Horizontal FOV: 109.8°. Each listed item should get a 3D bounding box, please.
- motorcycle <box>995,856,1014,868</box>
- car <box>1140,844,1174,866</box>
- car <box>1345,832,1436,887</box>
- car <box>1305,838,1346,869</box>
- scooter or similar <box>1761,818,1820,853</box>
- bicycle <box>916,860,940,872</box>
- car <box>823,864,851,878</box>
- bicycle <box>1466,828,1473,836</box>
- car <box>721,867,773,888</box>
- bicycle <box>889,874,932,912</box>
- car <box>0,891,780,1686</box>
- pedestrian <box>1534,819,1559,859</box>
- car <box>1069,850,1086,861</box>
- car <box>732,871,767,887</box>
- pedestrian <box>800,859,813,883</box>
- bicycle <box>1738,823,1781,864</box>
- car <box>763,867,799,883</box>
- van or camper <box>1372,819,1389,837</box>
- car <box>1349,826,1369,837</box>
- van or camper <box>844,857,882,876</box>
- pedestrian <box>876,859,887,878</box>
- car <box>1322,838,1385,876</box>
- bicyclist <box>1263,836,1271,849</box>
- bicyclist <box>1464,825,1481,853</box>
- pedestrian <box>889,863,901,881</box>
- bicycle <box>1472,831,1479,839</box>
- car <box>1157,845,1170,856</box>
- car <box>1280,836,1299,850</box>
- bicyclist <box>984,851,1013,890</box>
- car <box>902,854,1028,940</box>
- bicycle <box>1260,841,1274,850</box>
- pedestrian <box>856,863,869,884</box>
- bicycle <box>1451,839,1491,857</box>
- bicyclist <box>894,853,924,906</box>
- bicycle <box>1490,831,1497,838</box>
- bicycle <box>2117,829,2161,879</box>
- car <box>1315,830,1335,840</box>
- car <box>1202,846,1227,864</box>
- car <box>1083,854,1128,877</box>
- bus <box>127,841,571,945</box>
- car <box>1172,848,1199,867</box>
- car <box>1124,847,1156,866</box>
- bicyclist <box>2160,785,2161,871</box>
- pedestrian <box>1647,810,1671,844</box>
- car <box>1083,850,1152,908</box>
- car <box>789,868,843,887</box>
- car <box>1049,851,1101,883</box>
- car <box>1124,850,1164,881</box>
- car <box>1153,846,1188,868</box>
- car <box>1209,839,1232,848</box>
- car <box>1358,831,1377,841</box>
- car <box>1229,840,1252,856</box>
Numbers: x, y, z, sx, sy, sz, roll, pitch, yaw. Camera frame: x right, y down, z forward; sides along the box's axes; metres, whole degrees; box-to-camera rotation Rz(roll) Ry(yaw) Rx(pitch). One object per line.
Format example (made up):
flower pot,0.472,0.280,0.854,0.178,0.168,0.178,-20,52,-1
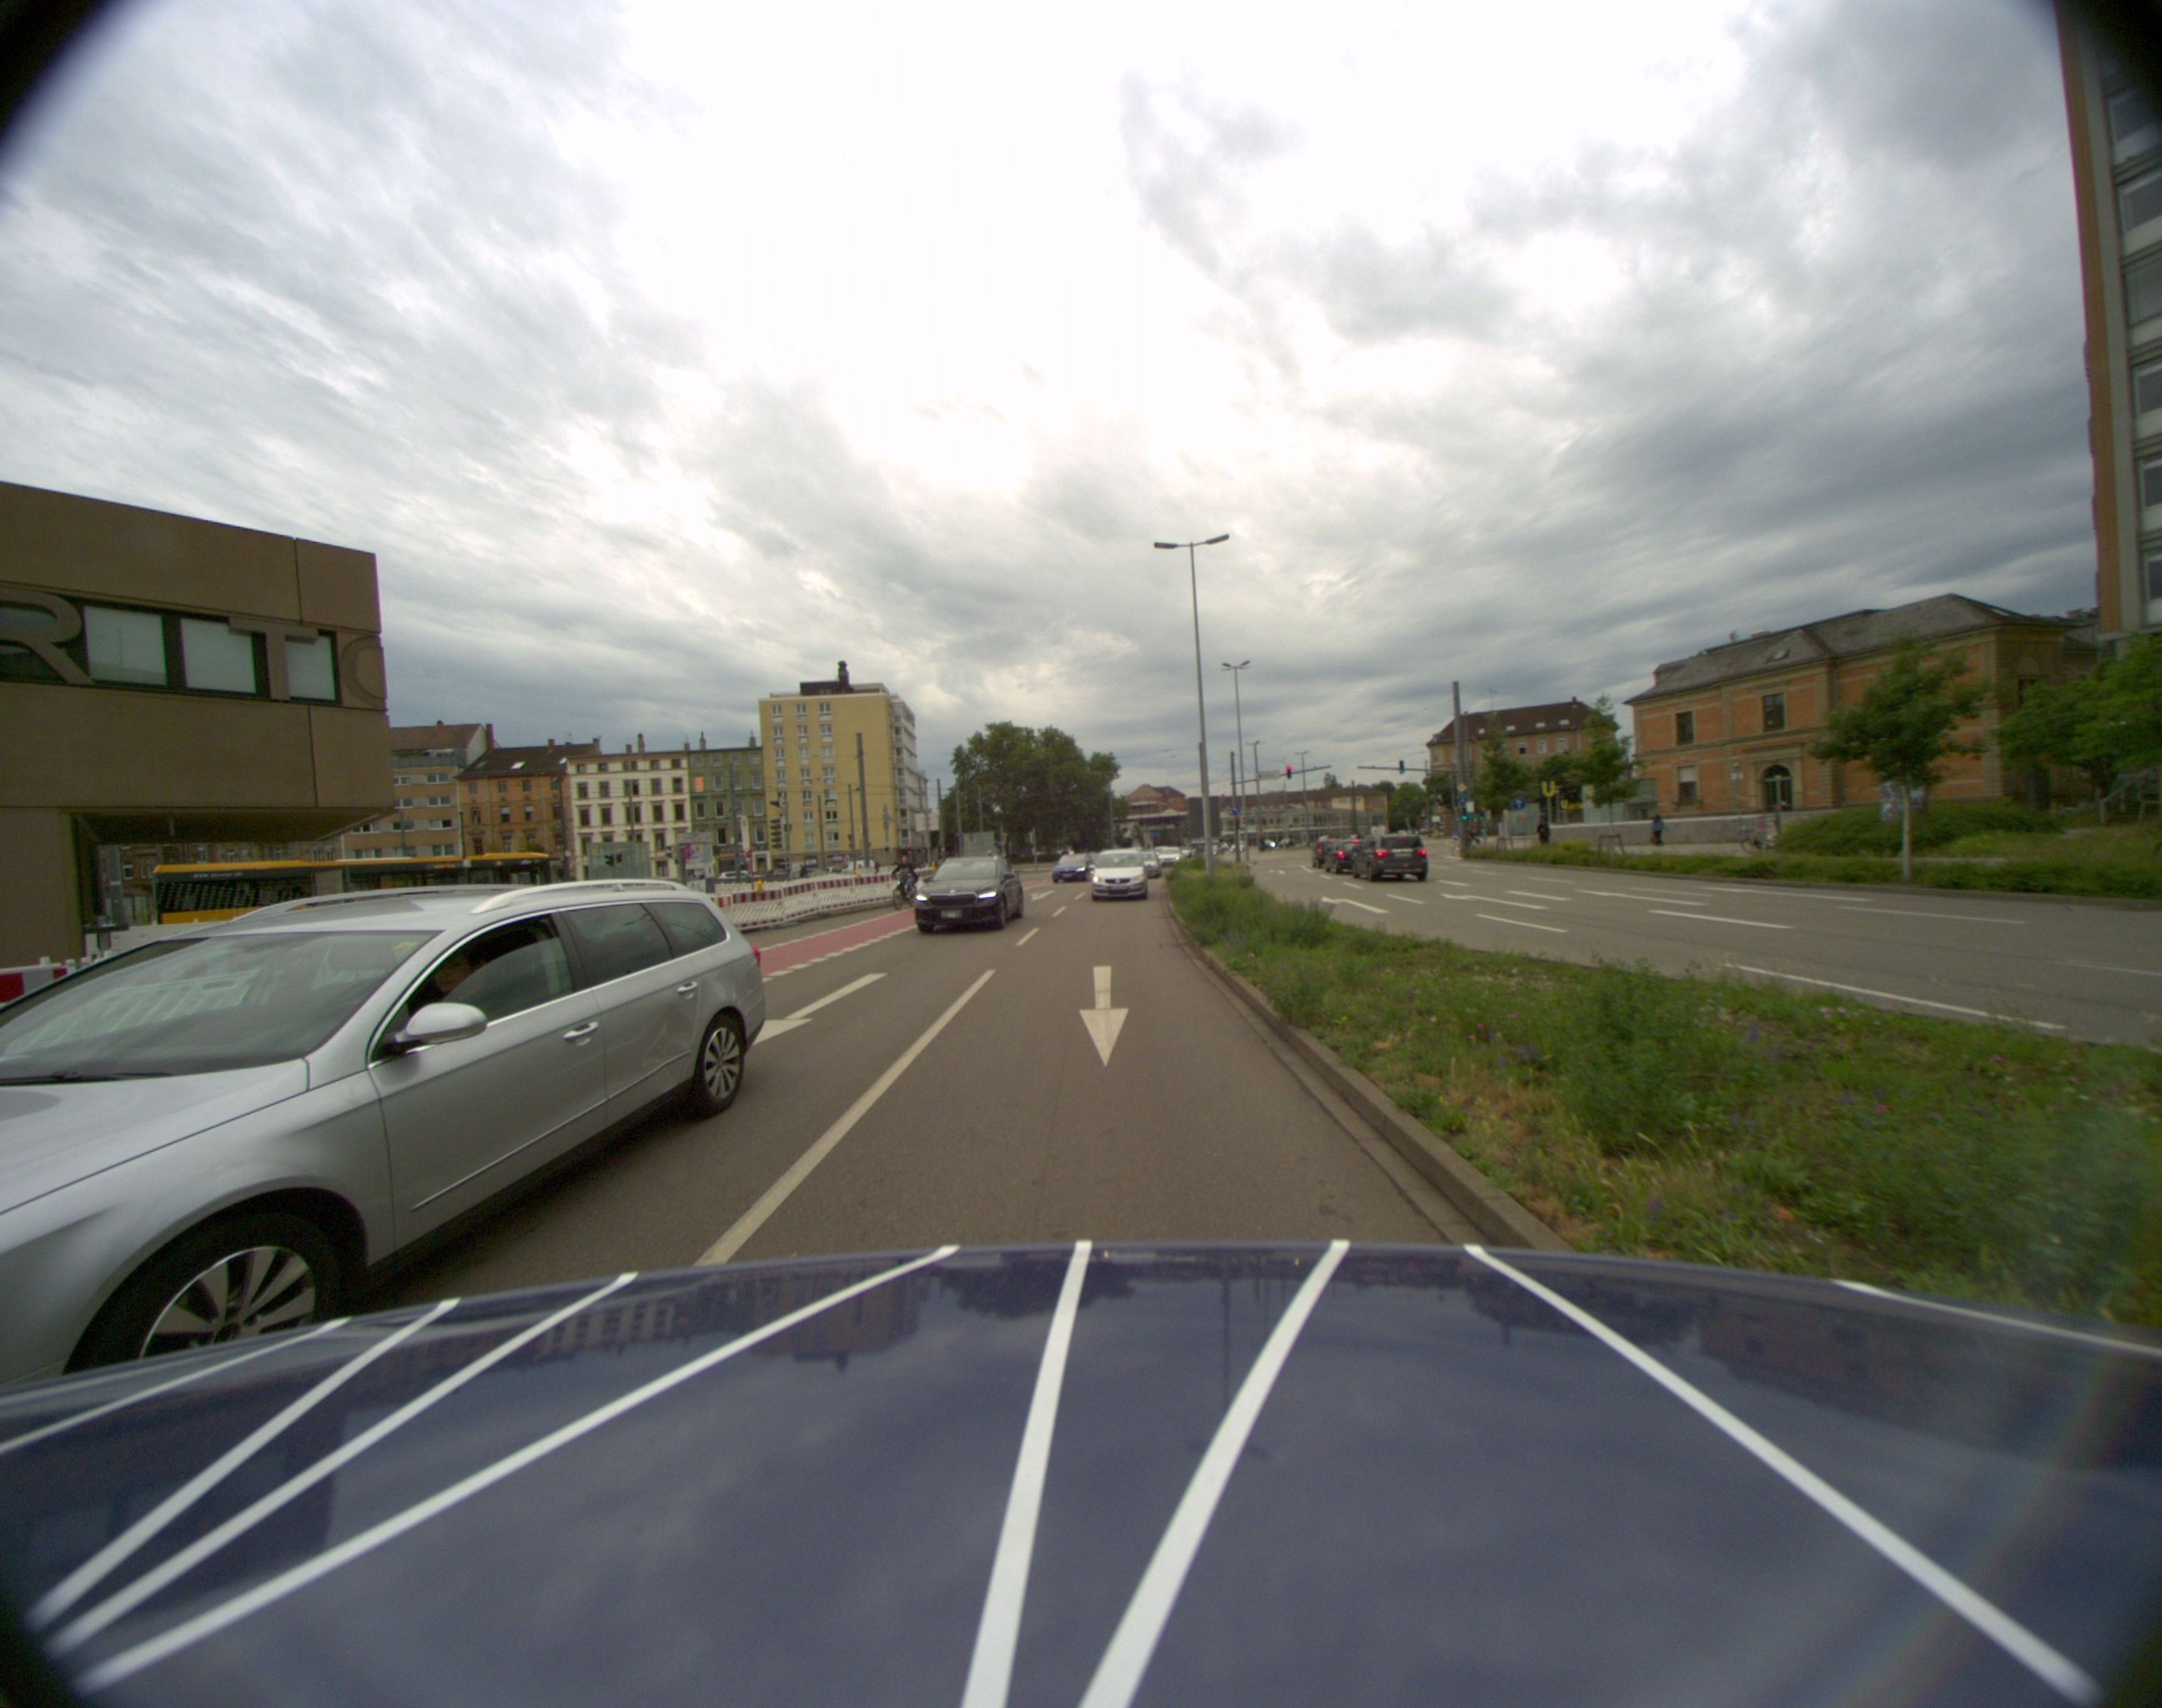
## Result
motorcycle,-9.690,1.014,96.516,2.293,1.358,1.046,-3,1,-12
car,7.706,0.111,76.523,1.995,2.002,4.006,-3,0,26
car,10.882,0.160,27.073,1.874,1.715,4.715,-2,1,8
car,13.025,-0.062,40.563,1.621,1.506,3.667,-2,0,11
scooter or similar,28.103,-0.720,30.108,1.775,1.295,0.630,-3,1,-3
bicycle,-19.464,1.466,96.652,2.782,1.369,0.903,-3,1,-2
car,-28.205,2.007,87.650,1.739,1.409,3.729,-4,0,-40
bicycle,57.237,-3.233,112.039,0.835,1.024,2.400,-3,0,28
car,-32.228,2.263,73.381,3.997,1.740,2.000,-3,1,-1
bicycle,-5.545,1.244,24.806,0.626,1.049,2.126,-3,1,7
car,-3.141,1.051,3.237,1.724,1.474,4.628,-2,0,1
pedestrian,23.156,-0.737,37.821,0.820,1.969,0.659,-3,1,15
car,-0.640,0.282,147.582,1.953,1.459,4.230,-3,5,17
car,-37.221,2.770,85.369,3.728,1.578,1.739,-3,1,33
pedestrian,-22.044,1.359,60.948,0.785,1.901,0.902,-4,1,-26
bicycle,25.429,-0.415,28.508,0.847,1.440,2.258,-3,1,34
car,-33.904,2.402,85.882,3.728,1.573,1.895,-3,1,33
van or camper,44.973,-3.902,114.111,2.281,2.513,5.581,-2,1,22
car,58.893,-4.812,161.081,2.368,2.121,5.139,-3,0,38
van or camper,-25.229,1.486,87.863,2.176,1.967,5.452,-4,1,-40
pedestrian,-19.084,1.394,72.797,0.789,1.747,1.047,-3,1,-25
car,11.727,0.098,32.976,1.874,1.499,4.482,-1,1,10
bicyclist,23.359,-1.450,95.359,0.655,1.630,0.517,-3,1,-10
bicyclist,24.667,-0.947,47.899,0.813,1.647,0.794,-3,1,19
pedestrian,-16.775,1.588,68.376,0.785,1.593,0.895,-4,1,-26
bicycle,57.974,-2.801,111.646,0.753,1.024,2.400,-3,0,28
car,15.534,-0.701,142.854,1.954,1.635,4.674,-3,4,11
car,34.557,-1.833,126.033,1.995,2.002,4.007,-3,0,29
bicyclist,-3.623,0.729,33.347,0.789,1.608,0.934,-5,0,24
car,-2.553,0.890,17.861,1.907,1.648,4.515,-3,0,4
bicycle,23.373,-1.031,95.391,1.614,1.064,0.527,-3,1,-11
pedestrian,-18.029,1.618,62.790,0.785,1.634,0.902,-4,1,-26
bicycle,24.605,-0.406,47.955,2.115,1.022,0.796,-3,1,19
bicyclist,-5.582,0.822,24.699,0.617,1.680,0.806,-3,0,7
bicycle,59.973,-2.825,110.455,0.753,1.024,2.400,-3,0,28
bicycle,20.003,-0.003,13.489,0.716,0.877,1.884,-4,1,6
car,45.228,-3.501,140.790,2.368,1.744,5.138,-3,0,32
car,17.066,0.094,96.821,1.995,2.002,4.006,-3,0,26
car,1.717,0.744,50.780,1.767,1.362,4.427,-2,0,18
bus,-29.862,1.329,32.306,3.018,3.249,13.066,-3,1,41
car,11.680,0.365,84.690,1.996,2.002,4.005,-3,0,20
car,5.227,0.178,66.582,1.996,1.499,4.004,-3,1,16
bicyclist,19.955,-0.489,13.425,0.716,1.561,0.712,-4,2,5
pedestrian,30.027,-1.408,39.482,0.748,1.723,0.686,-3,1,15
car,1.321,0.735,24.973,1.862,1.609,5.064,-3,0,7
car,-25.549,2.238,73.441,4.442,1.477,2.000,-3,1,-1
car,-0.225,0.656,39.691,1.768,1.428,4.760,-3,0,11
car,3.398,0.568,40.356,1.808,1.398,3.985,-3,1,9
car,6.696,0.194,56.446,1.970,1.447,4.197,-3,0,14
car,26.207,-1.947,142.765,3.899,1.433,1.735,-3,0,19
car,62.611,-3.930,166.200,2.368,2.010,5.139,-3,0,38
car,22.625,-0.817,107.458,1.995,2.002,4.007,-3,0,29
